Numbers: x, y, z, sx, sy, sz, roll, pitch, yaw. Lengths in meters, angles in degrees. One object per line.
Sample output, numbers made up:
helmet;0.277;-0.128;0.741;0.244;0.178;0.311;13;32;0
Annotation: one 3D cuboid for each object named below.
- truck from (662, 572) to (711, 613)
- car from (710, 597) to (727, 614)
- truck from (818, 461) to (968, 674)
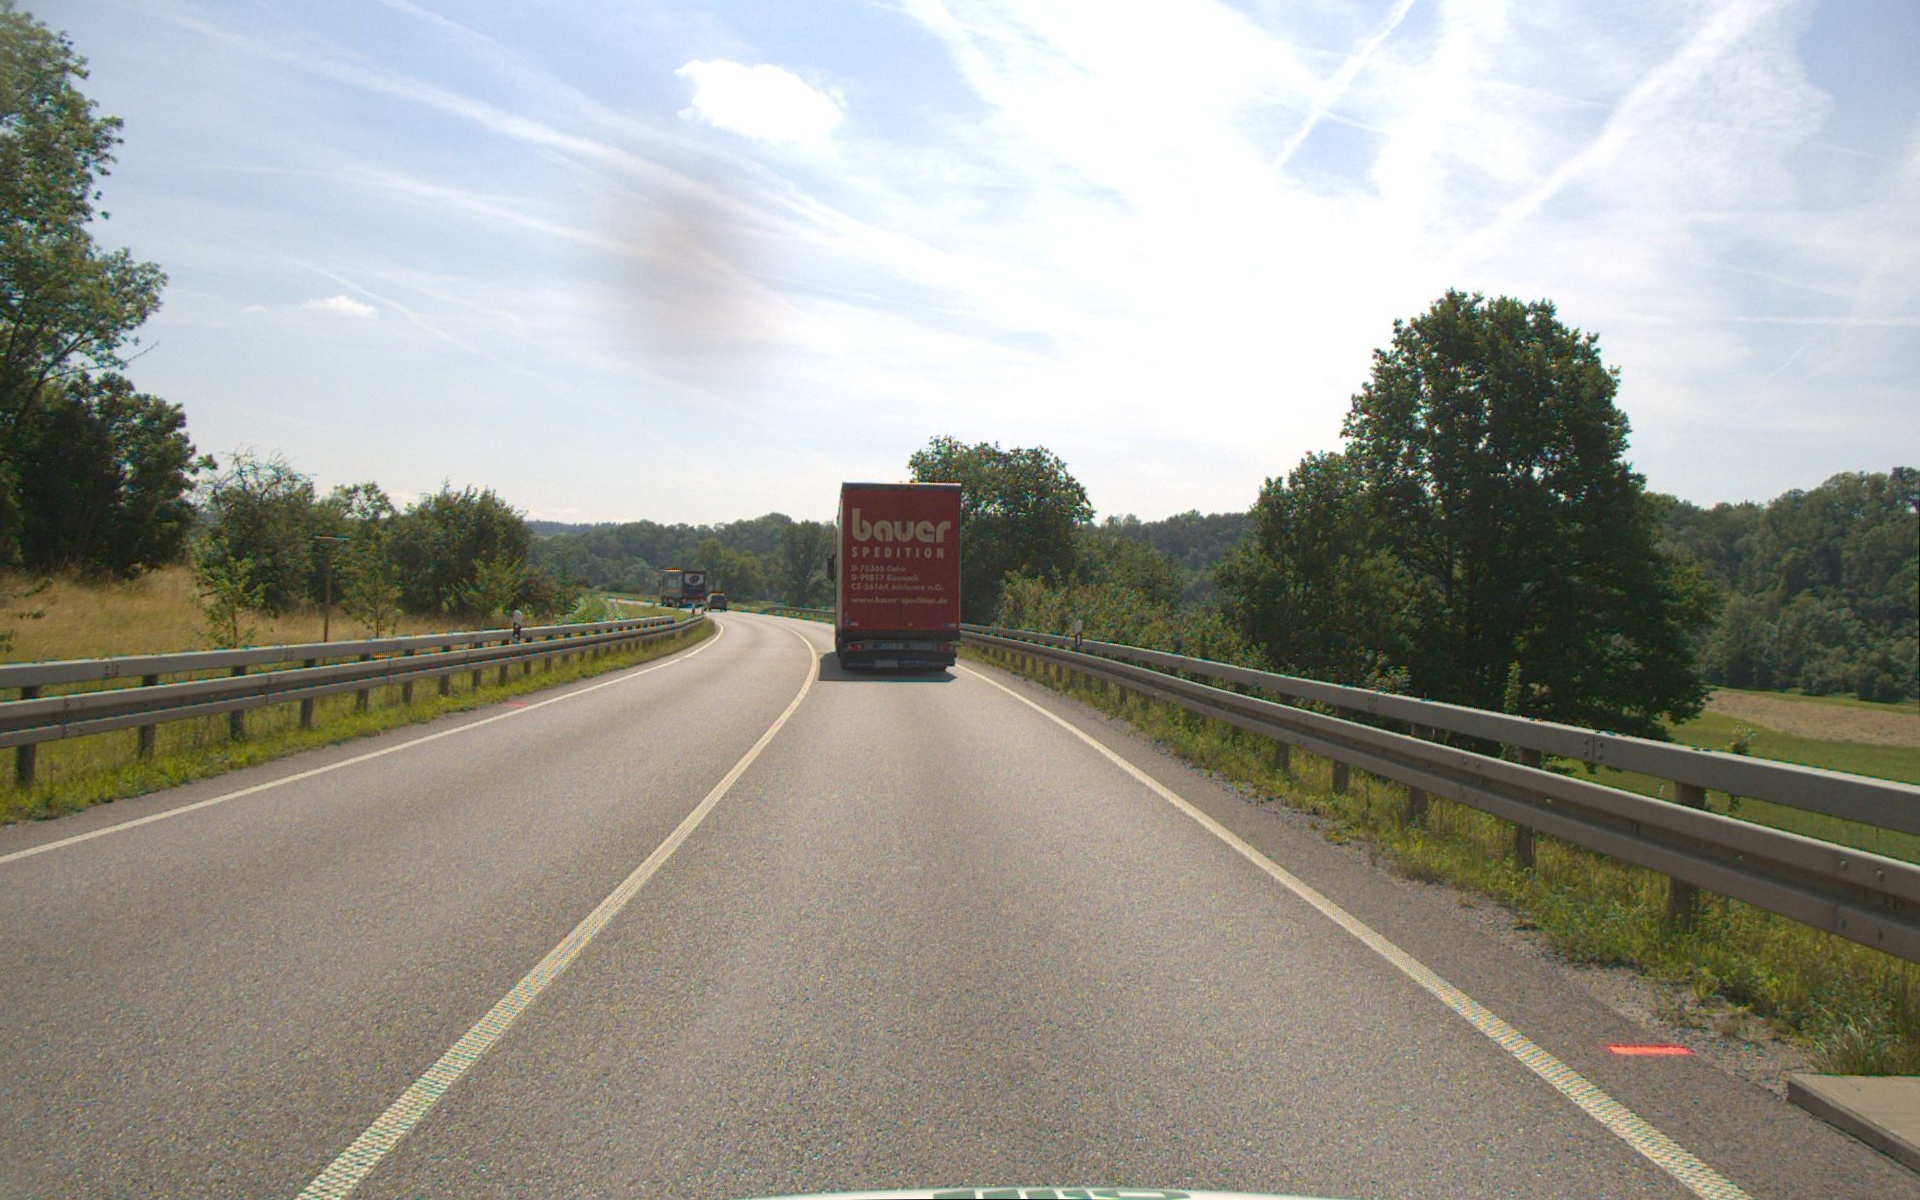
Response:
truck;-30.593;-0.769;184.453;3.585;4.367;11.921;1;0;-18
car;-23.370;0.541;159.795;1.552;1.527;3.868;1;0;-9
truck;-1.621;-0.655;38.131;3.033;4.337;8.308;1;0;-4
